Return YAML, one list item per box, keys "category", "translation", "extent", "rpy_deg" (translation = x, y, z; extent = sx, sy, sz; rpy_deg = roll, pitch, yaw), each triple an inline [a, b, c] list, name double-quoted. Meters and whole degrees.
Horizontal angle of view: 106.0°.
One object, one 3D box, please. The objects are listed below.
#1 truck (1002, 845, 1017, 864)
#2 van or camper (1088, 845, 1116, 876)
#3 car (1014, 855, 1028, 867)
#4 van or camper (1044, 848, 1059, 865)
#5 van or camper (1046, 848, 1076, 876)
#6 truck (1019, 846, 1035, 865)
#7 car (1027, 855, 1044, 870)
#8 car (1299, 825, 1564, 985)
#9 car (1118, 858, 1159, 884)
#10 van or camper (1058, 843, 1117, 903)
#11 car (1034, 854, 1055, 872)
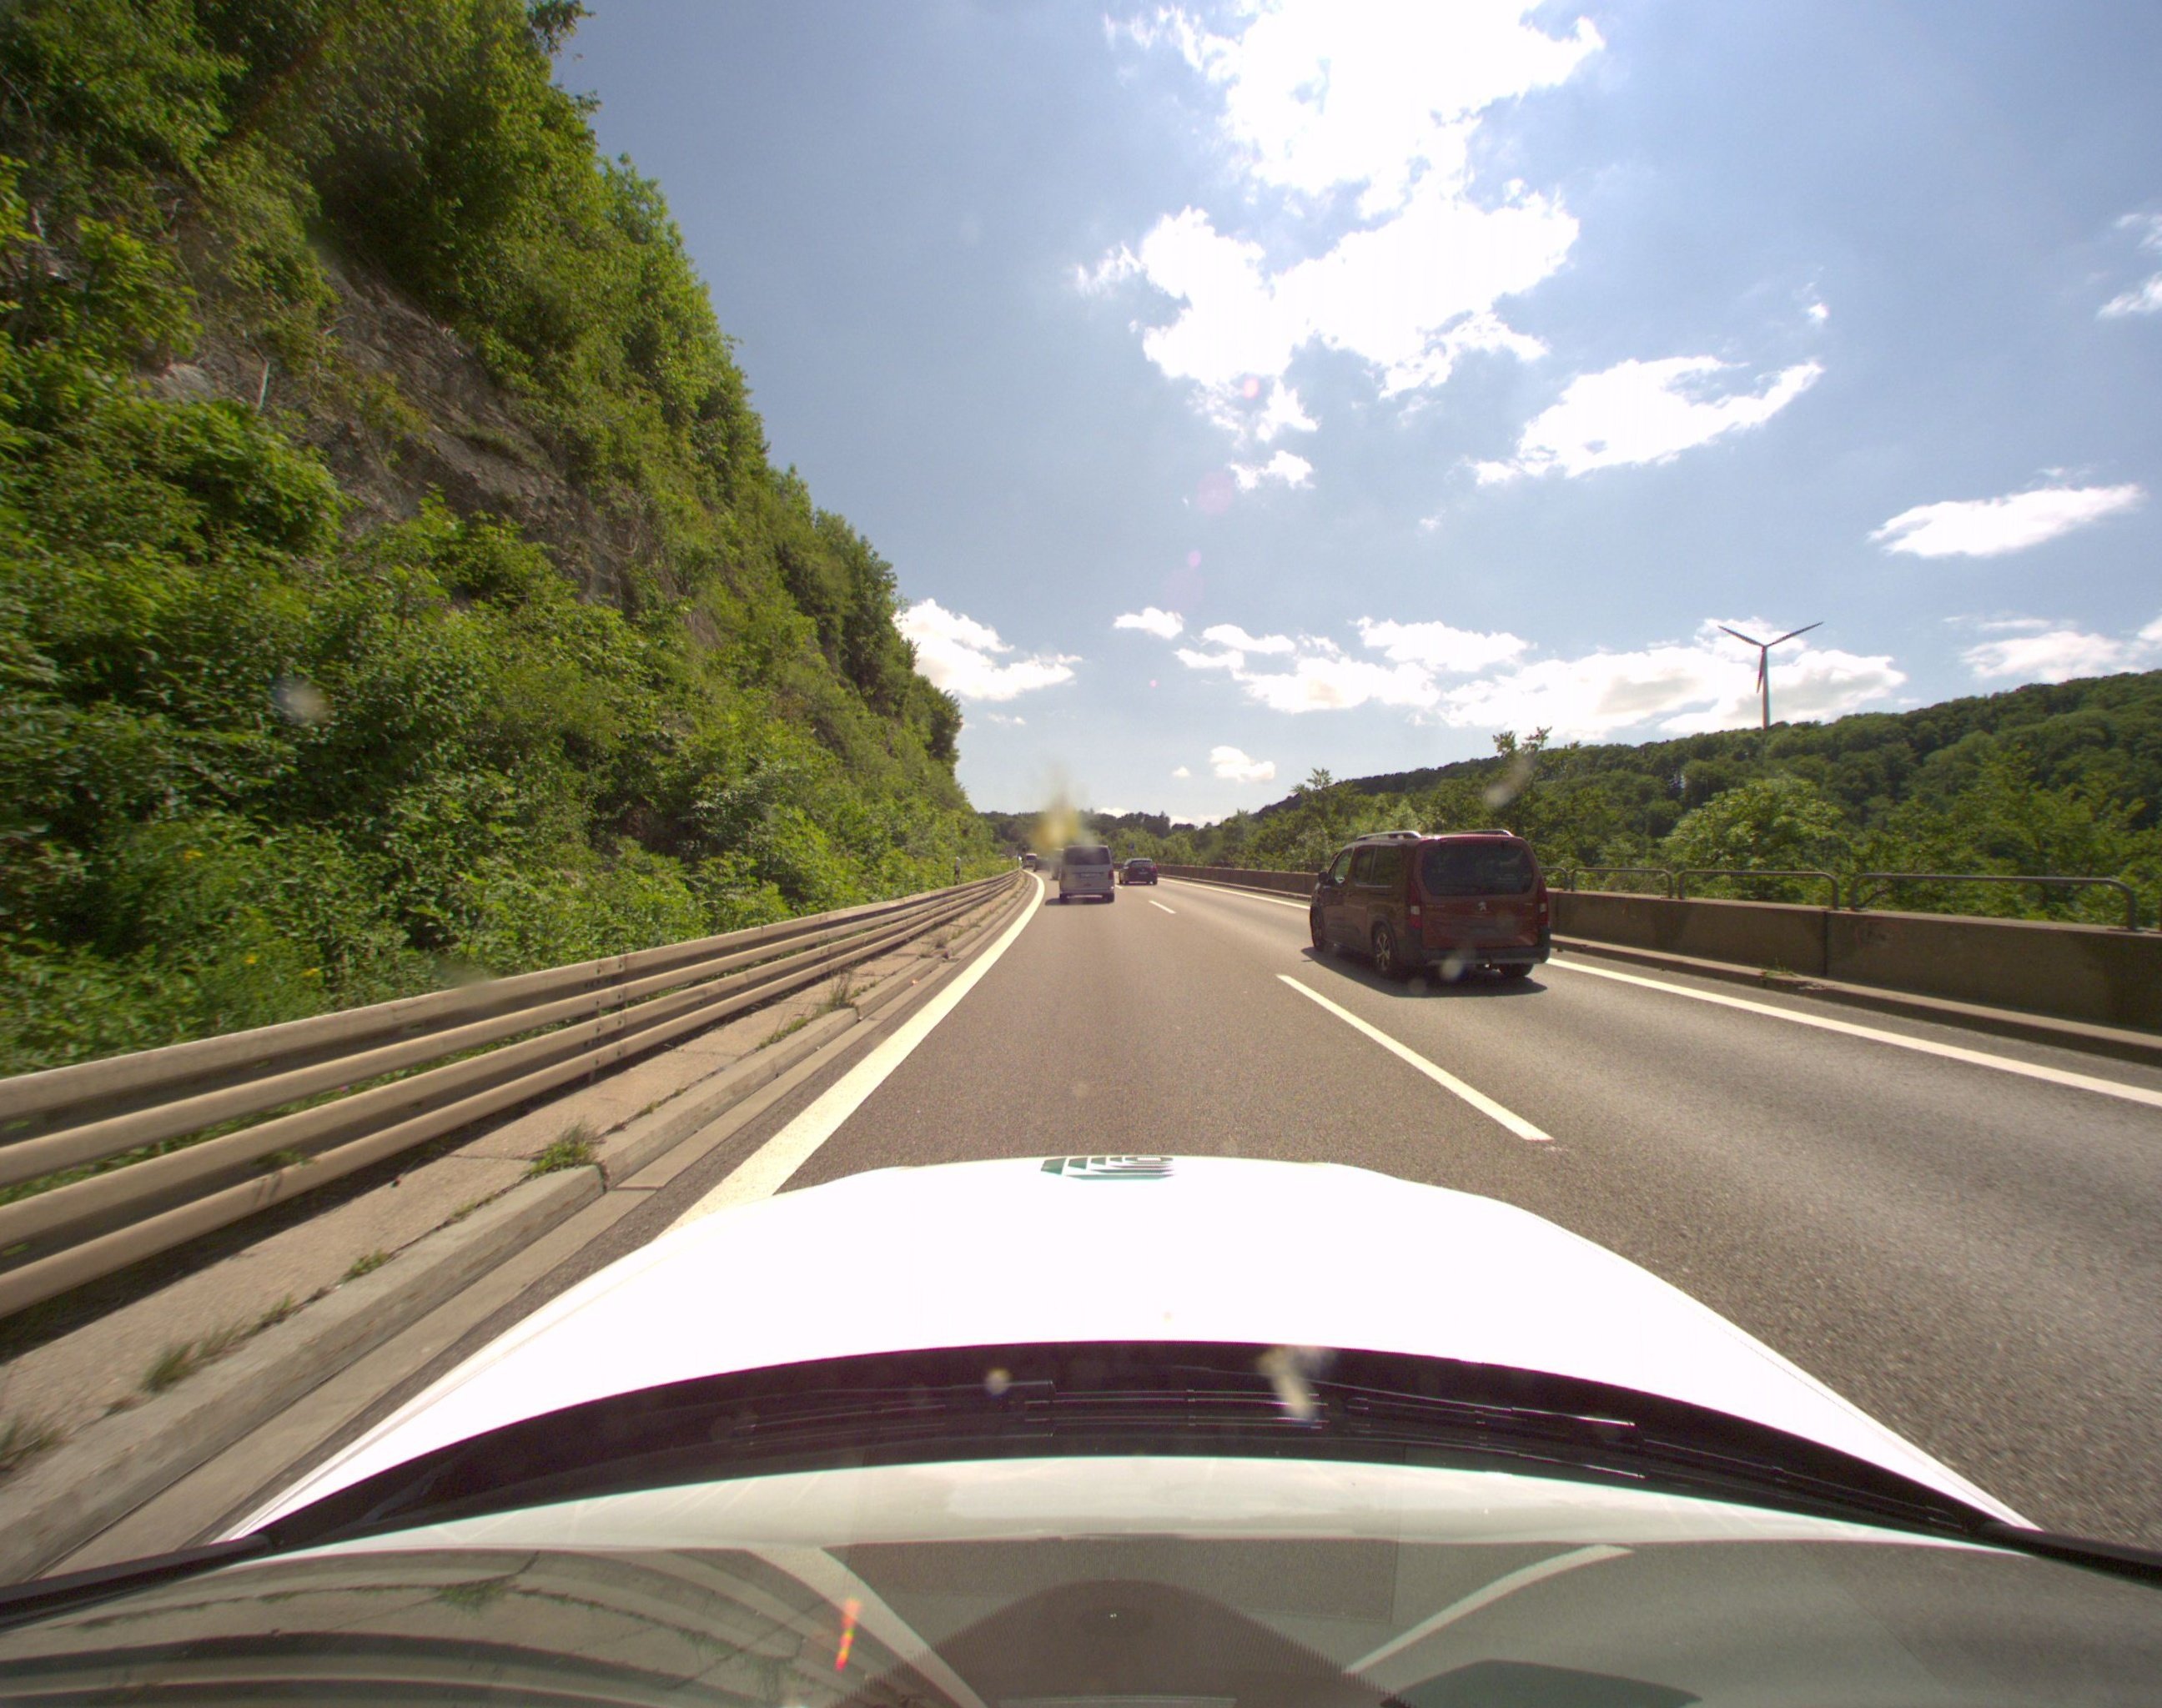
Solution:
- category: "truck"
  translation: [-17.171, 0.147, 195.984]
  extent: [3.289, 4.519, 7.709]
  rpy_deg: [0, 0, -8]
- category: "van or camper"
  translation: [1.838, 0.577, 72.324]
  extent: [2.256, 2.551, 4.736]
  rpy_deg: [-2, -1, 1]
- category: "car"
  translation: [-9.146, 1.076, 124.770]
  extent: [1.989, 1.915, 3.995]
  rpy_deg: [0, 0, -3]
- category: "van or camper"
  translation: [-7.264, 0.672, 201.574]
  extent: [3.267, 3.789, 8.107]
  rpy_deg: [-1, -1, -1]
- category: "van or camper"
  translation: [-2.852, 1.113, 113.137]
  extent: [3.275, 3.789, 8.087]
  rpy_deg: [0, 0, -9]
- category: "truck"
  translation: [-13.363, 0.440, 201.773]
  extent: [3.279, 4.332, 7.732]
  rpy_deg: [-2, -1, 2]
- category: "car"
  translation: [-5.584, 0.988, 99.875]
  extent: [1.988, 1.817, 3.998]
  rpy_deg: [0, 0, -1]
- category: "car"
  translation: [4.585, 0.617, 11.547]
  extent: [1.827, 1.784, 4.677]
  rpy_deg: [-1, -1, 1]
- category: "car"
  translation: [3.165, 0.934, 45.399]
  extent: [1.765, 1.376, 3.587]
  rpy_deg: [-1, 0, -4]
- category: "van or camper"
  translation: [0.154, 0.644, 28.915]
  extent: [1.871, 1.949, 4.290]
  rpy_deg: [-1, -1, -2]
- category: "car"
  translation: [-3.762, 0.903, 83.575]
  extent: [1.990, 1.817, 3.993]
  rpy_deg: [0, 0, -5]
